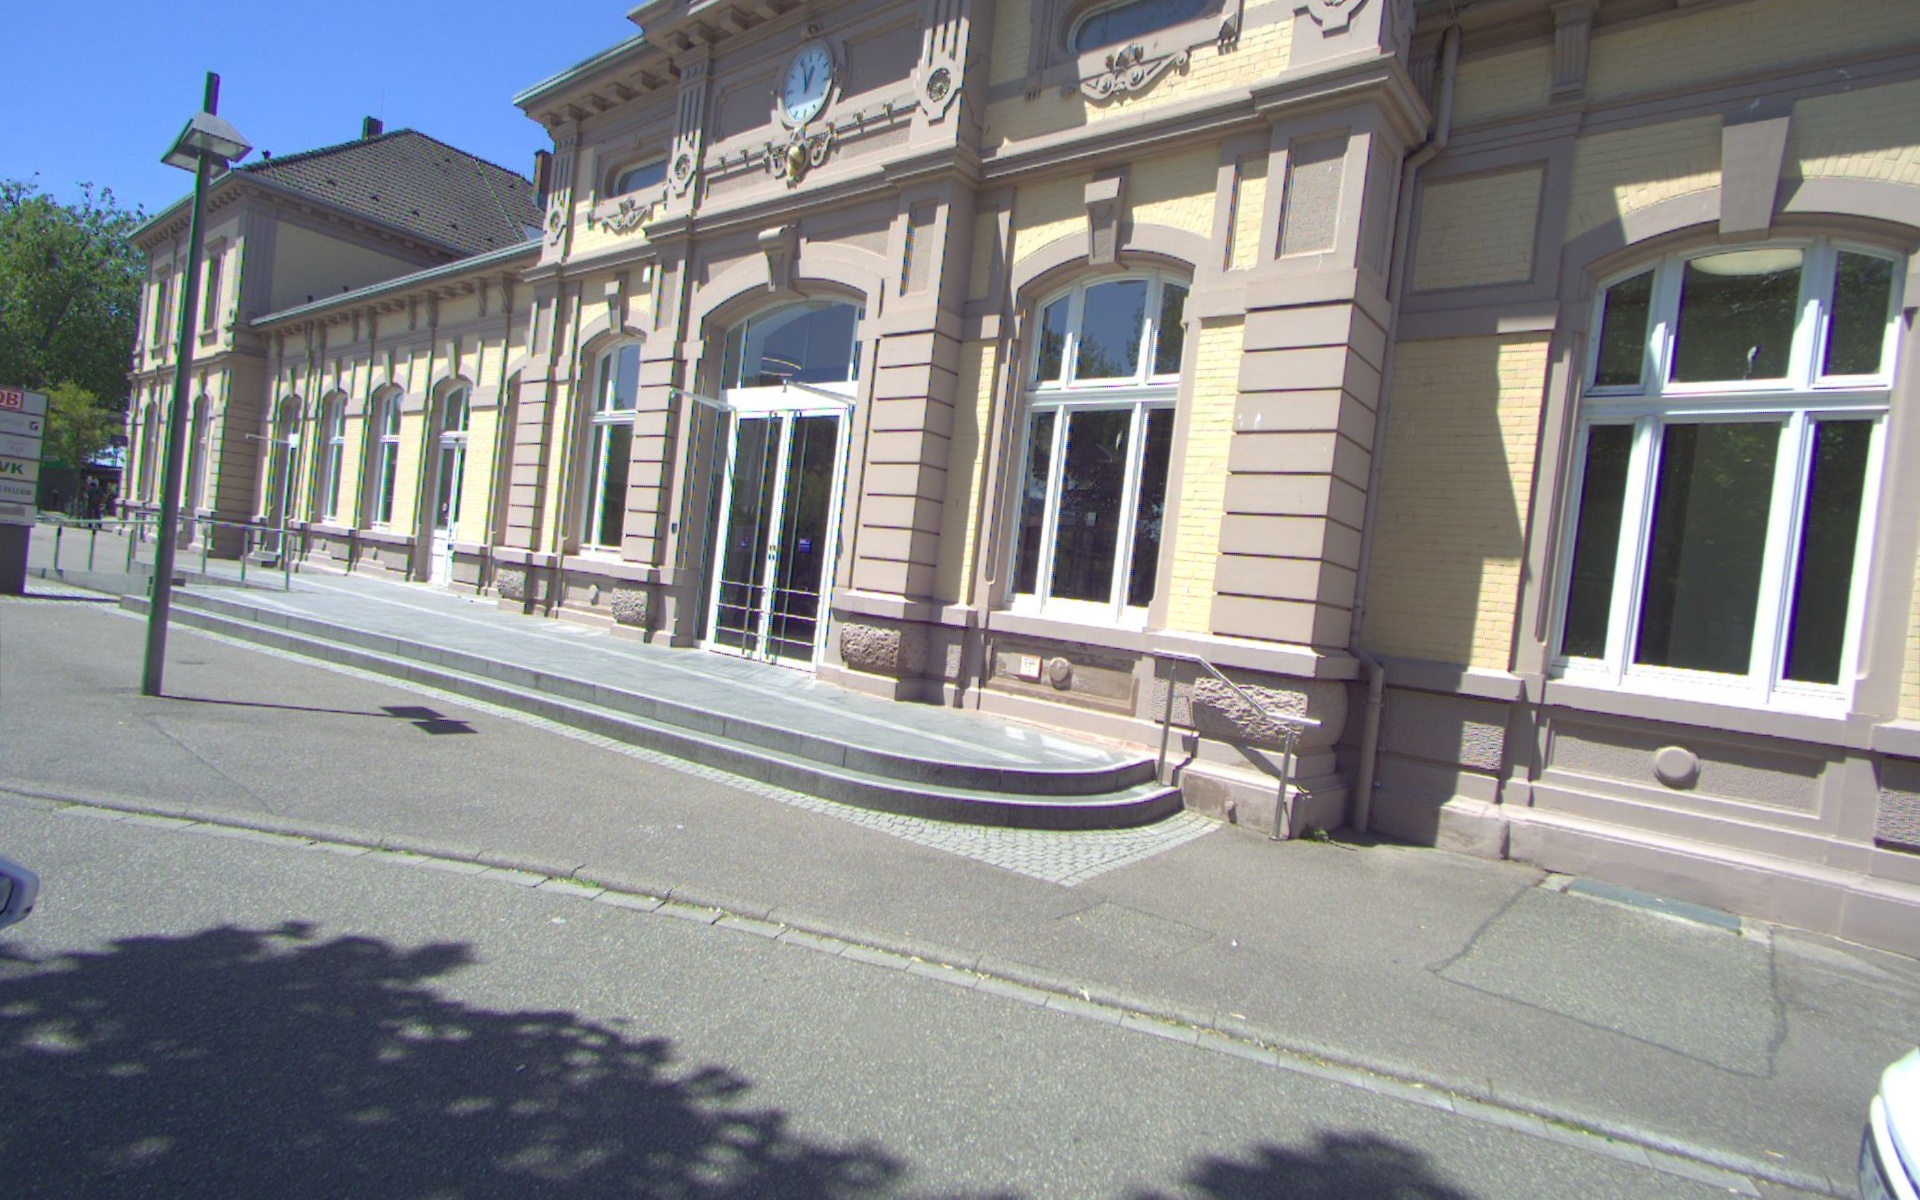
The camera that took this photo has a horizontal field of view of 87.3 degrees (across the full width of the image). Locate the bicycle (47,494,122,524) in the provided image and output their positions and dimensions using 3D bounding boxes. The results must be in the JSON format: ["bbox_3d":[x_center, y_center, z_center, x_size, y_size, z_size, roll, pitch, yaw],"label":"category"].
[{"bbox_3d":[-45.921,-4.754,52.783,0.799,1.015,2.788,6,-3,38],"label":"bicycle"}]

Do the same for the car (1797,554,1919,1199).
[{"bbox_3d":[4.080,1.059,0.729,5.061,1.888,1.809,8,0,38],"label":"car"}]

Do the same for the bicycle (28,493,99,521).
[{"bbox_3d":[-50.342,-5.213,56.535,0.799,1.015,2.788,6,-3,38],"label":"bicycle"}]

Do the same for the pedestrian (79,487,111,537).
[{"bbox_3d":[-33.553,-3.423,39.037,0.682,1.832,0.627,6,1,-29],"label":"pedestrian"}]

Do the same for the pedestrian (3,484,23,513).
[{"bbox_3d":[-47.914,-5.140,50.892,0.667,1.413,0.624,7,2,40],"label":"pedestrian"}]
